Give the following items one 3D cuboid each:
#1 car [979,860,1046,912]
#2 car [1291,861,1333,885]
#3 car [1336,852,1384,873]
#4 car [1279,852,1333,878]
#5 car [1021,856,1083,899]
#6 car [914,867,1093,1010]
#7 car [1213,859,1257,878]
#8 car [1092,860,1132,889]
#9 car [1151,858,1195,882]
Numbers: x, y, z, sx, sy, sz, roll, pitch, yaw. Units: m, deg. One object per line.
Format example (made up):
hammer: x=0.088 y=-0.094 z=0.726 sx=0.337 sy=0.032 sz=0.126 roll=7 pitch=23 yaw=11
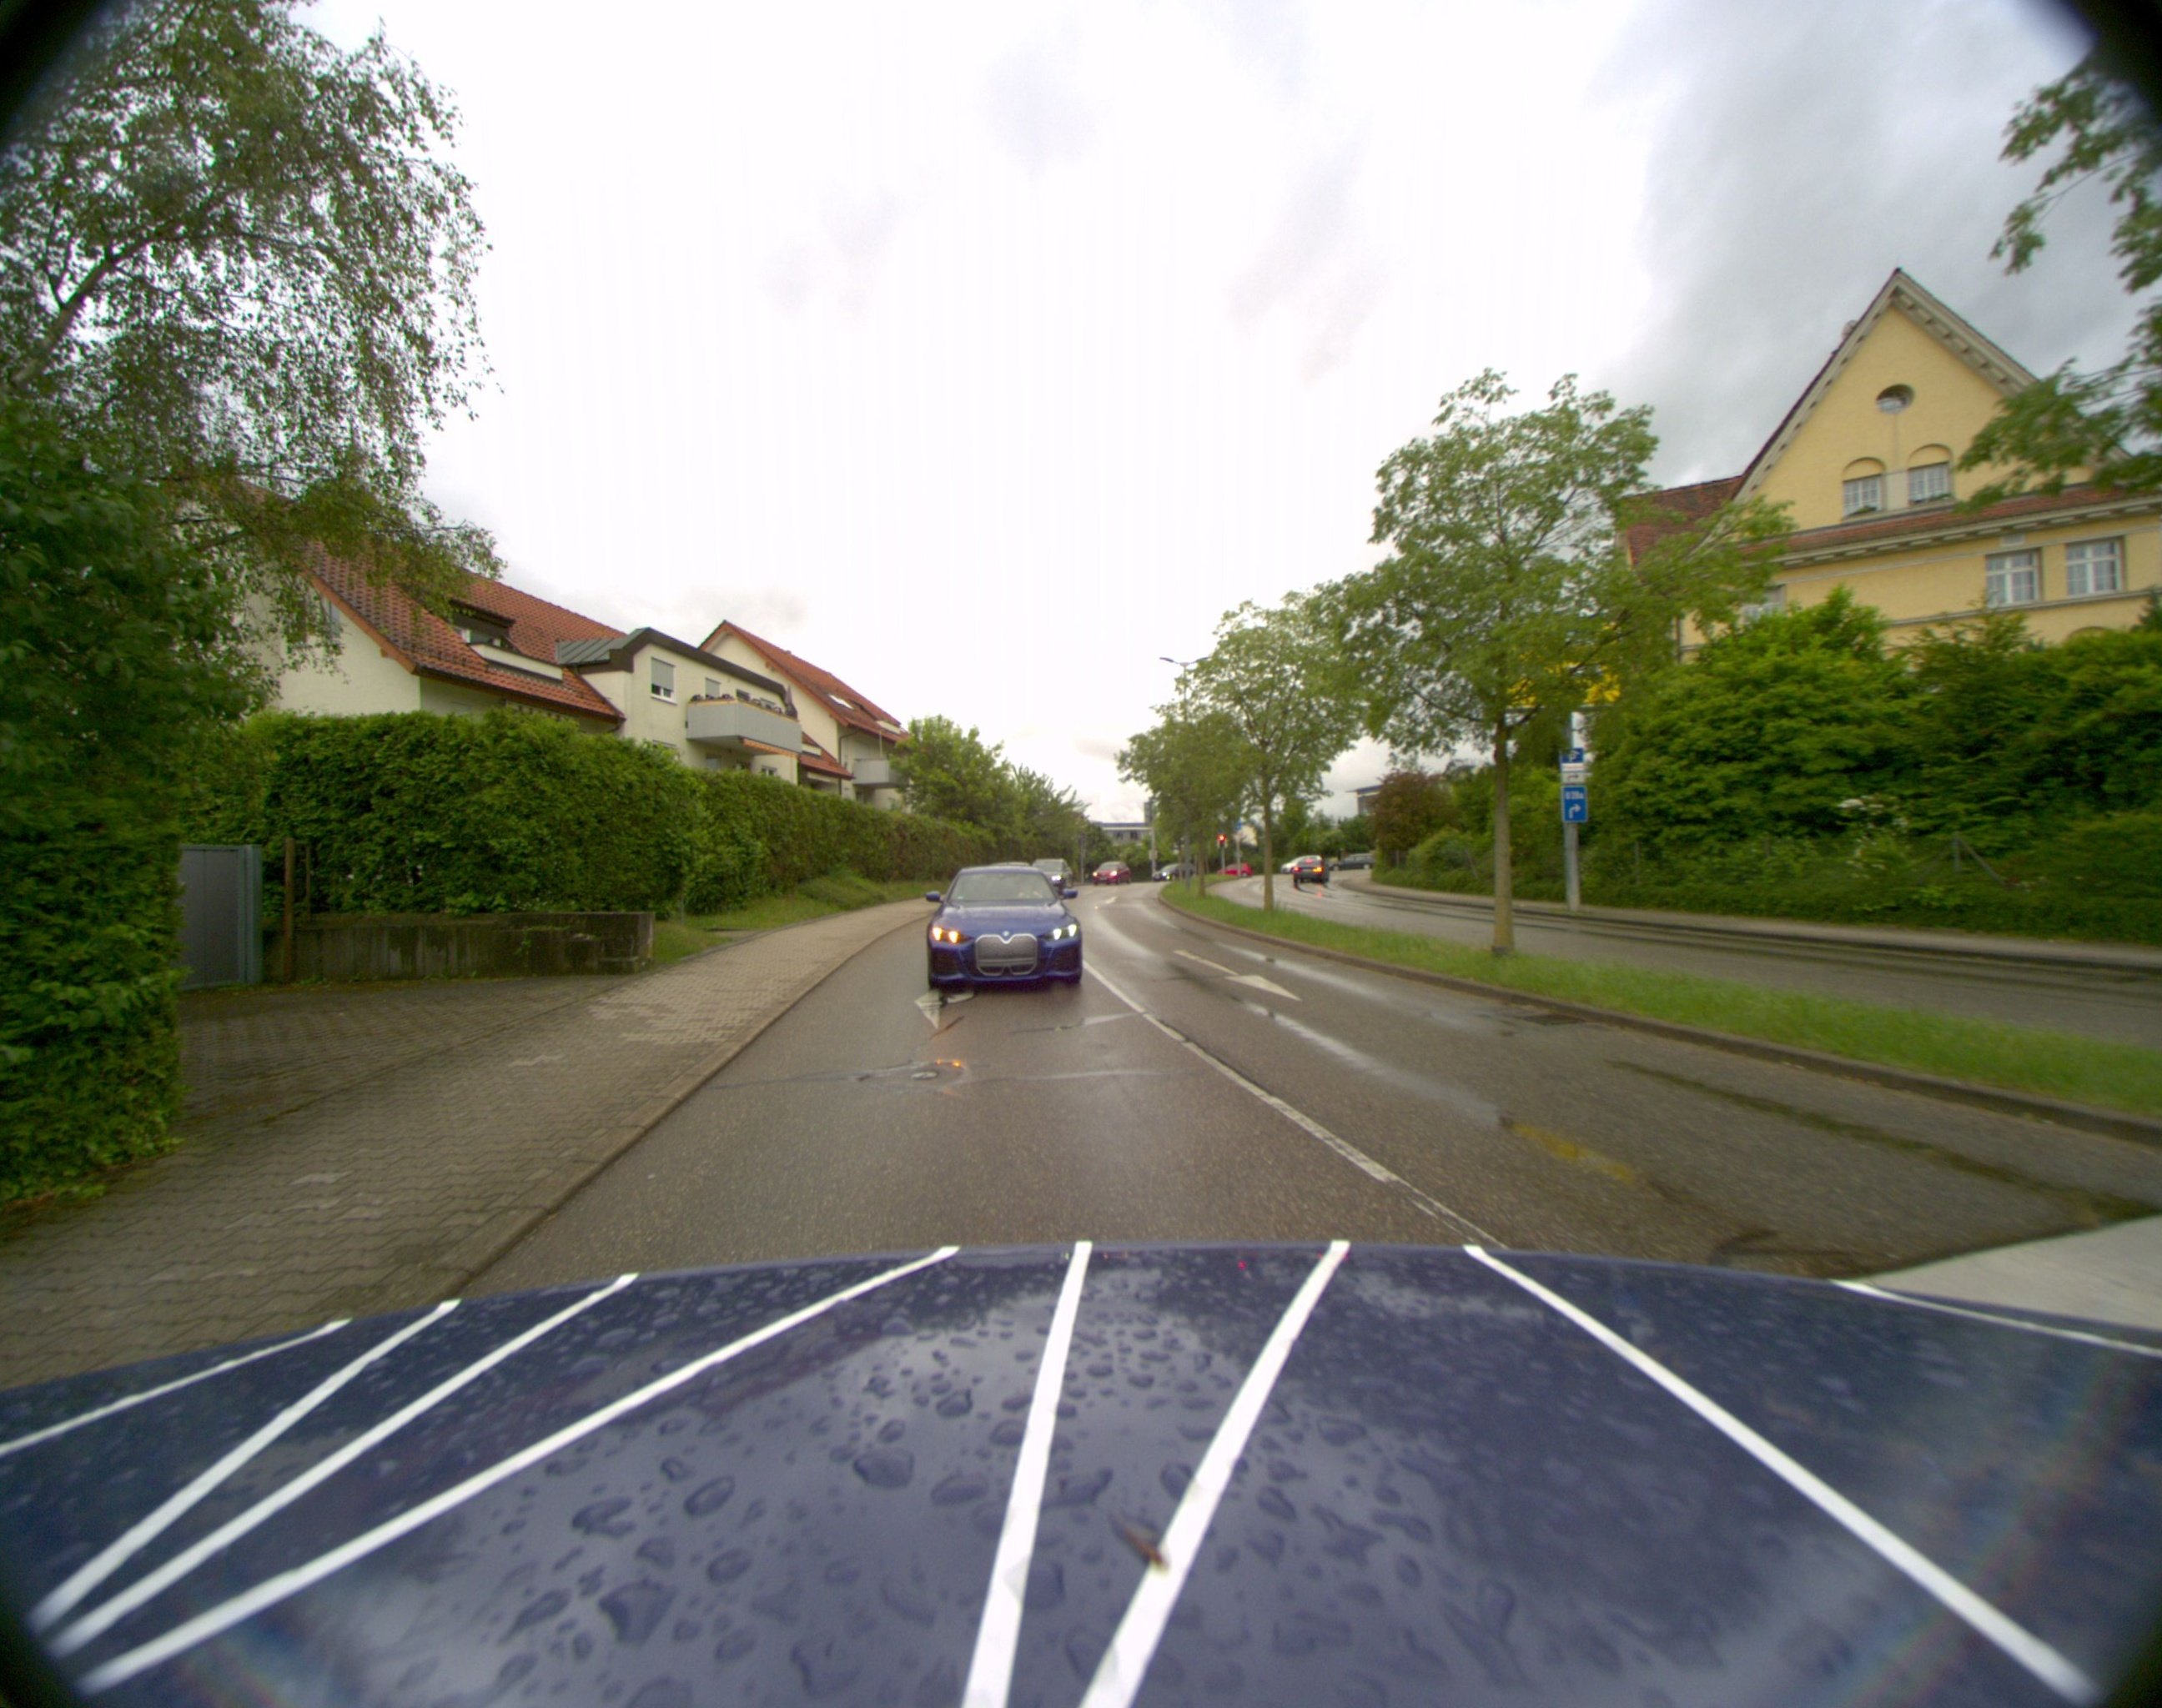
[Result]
car: x=-2.195 y=1.074 z=25.263 sx=1.746 sy=1.509 sz=4.002 roll=-4 pitch=-3 yaw=0
car: x=14.466 y=1.165 z=47.454 sx=1.995 sy=1.429 sz=4.556 roll=0 pitch=-1 yaw=23
car: x=25.360 y=0.808 z=69.007 sx=3.923 sy=1.611 sz=1.849 roll=-5 pitch=-3 yaw=23
car: x=19.209 y=0.990 z=64.943 sx=3.995 sy=1.913 sz=1.914 roll=-4 pitch=-2 yaw=6
car: x=-1.266 y=1.097 z=35.192 sx=1.966 sy=1.738 sz=4.312 roll=-4 pitch=-3 yaw=8
car: x=-1.140 y=0.951 z=10.505 sx=1.915 sy=1.487 sz=4.346 roll=-2 pitch=-1 yaw=-8
car: x=15.593 y=1.455 z=77.108 sx=4.101 sy=1.813 sz=2.003 roll=-2 pitch=-2 yaw=19
car: x=2.098 y=1.403 z=50.630 sx=1.866 sy=1.715 sz=4.005 roll=-4 pitch=-3 yaw=12
car: x=7.304 y=1.243 z=59.946 sx=1.865 sy=1.715 sz=4.008 roll=-5 pitch=-3 yaw=30
